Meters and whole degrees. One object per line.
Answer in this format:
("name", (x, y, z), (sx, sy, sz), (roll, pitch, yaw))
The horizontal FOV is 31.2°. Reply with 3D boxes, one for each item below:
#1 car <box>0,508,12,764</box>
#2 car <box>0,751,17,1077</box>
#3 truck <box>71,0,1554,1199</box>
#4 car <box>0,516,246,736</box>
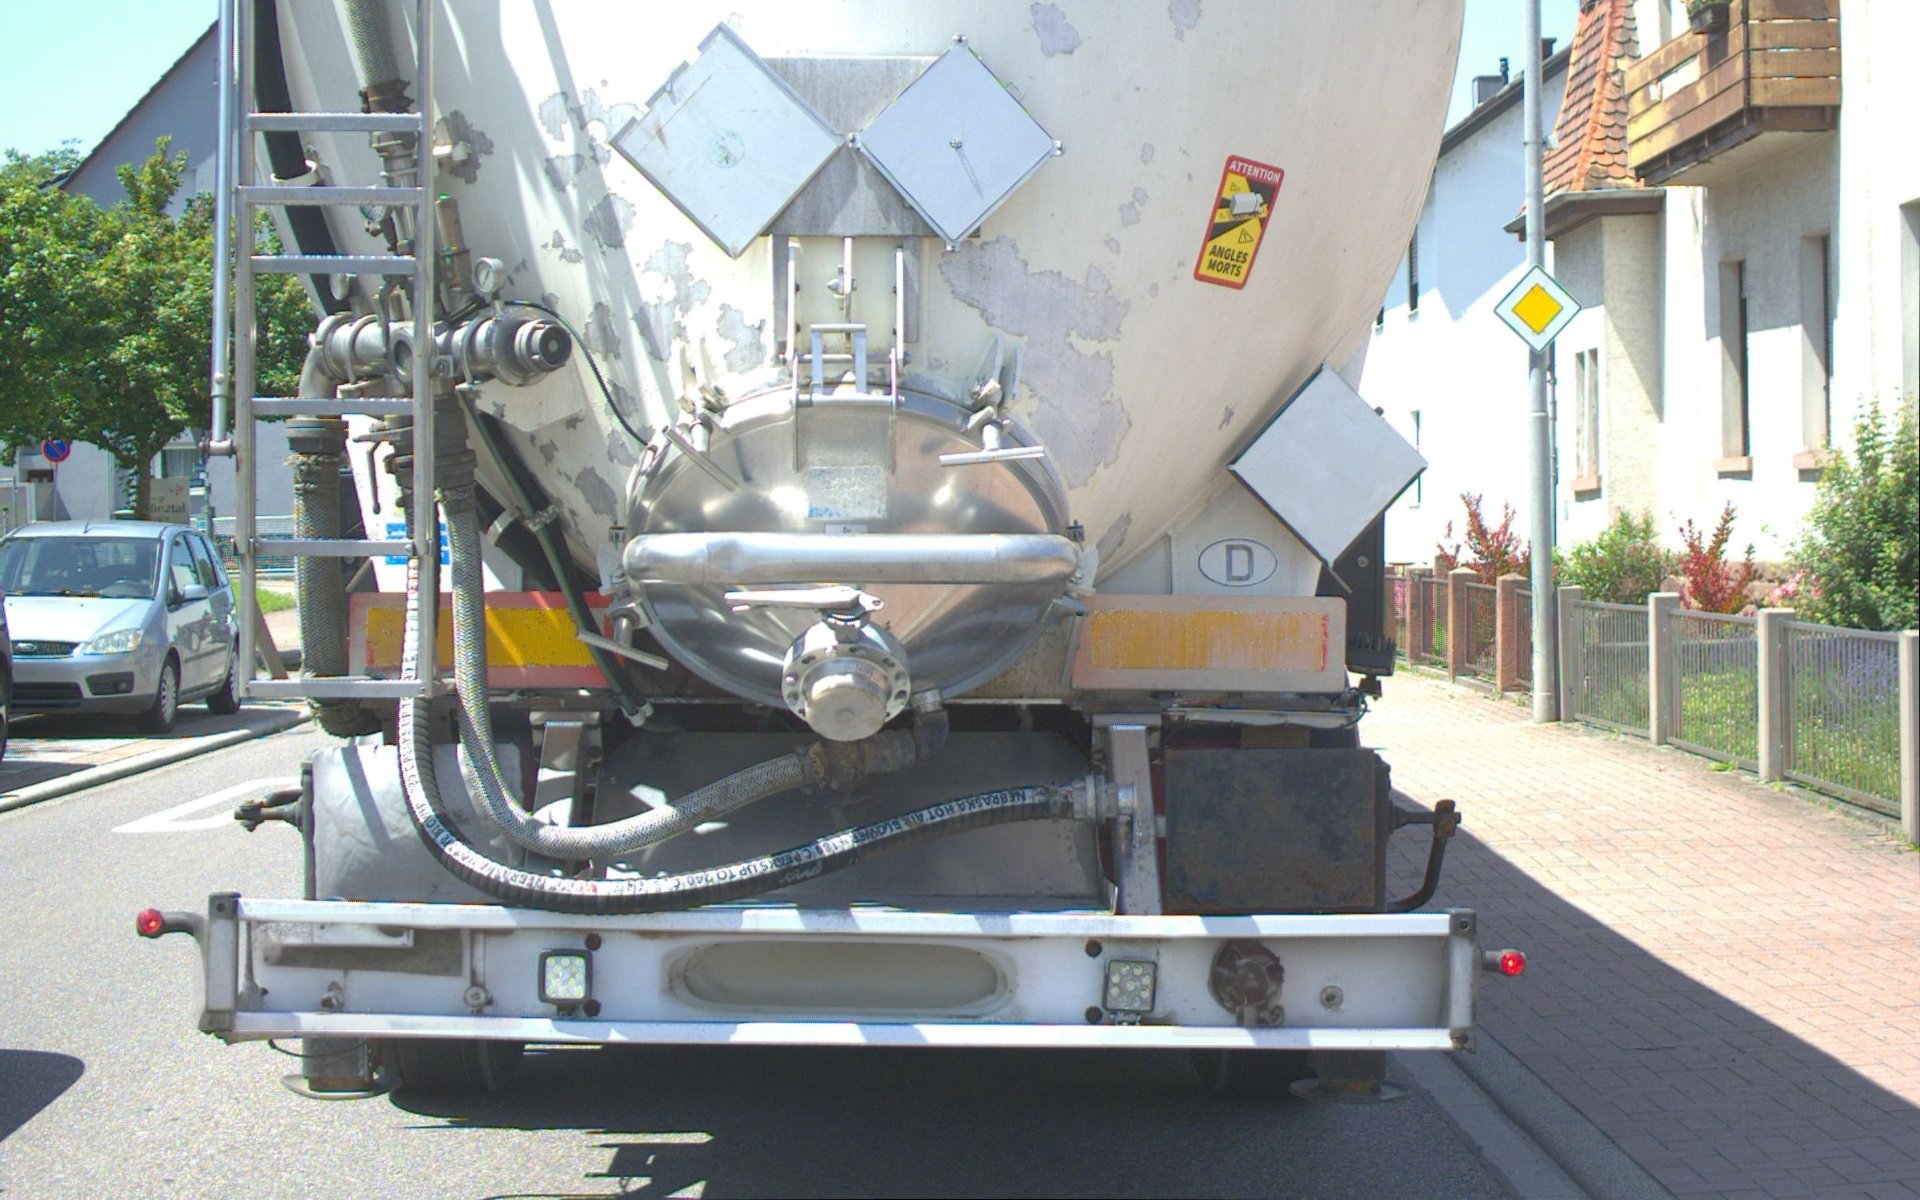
("car", (-6.902, 0.269, 19.958), (1.691, 1.614, 3.998), (0, 1, 0))
("car", (-3.485, 0.707, 7.602), (1.706, 1.365, 3.869), (-3, 1, -1))
("truck", (-0.293, -0.777, 10.910), (2.641, 4.002, 9.562), (0, 1, 0))
("car", (-6.747, 0.139, 26.652), (1.697, 1.575, 3.838), (0, 1, -1))
